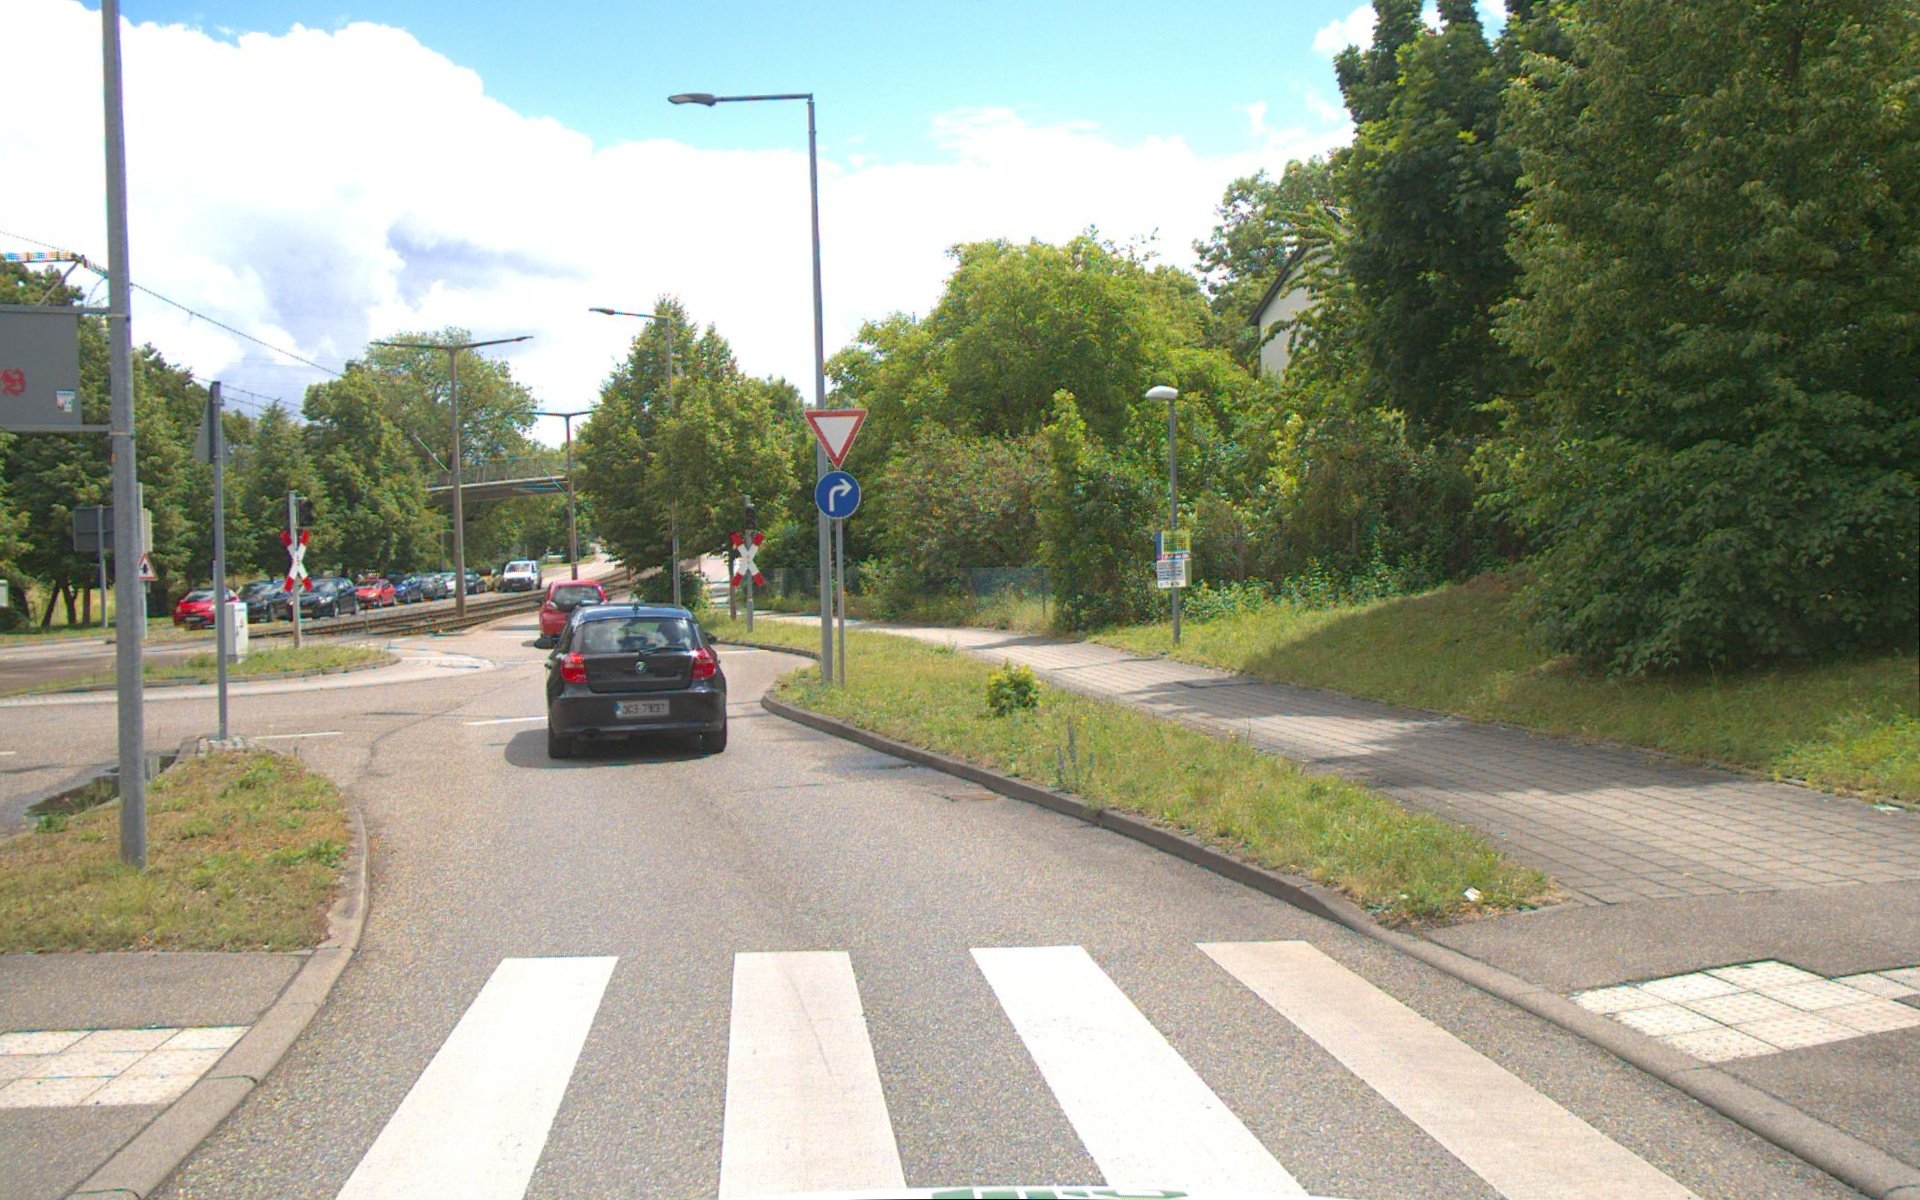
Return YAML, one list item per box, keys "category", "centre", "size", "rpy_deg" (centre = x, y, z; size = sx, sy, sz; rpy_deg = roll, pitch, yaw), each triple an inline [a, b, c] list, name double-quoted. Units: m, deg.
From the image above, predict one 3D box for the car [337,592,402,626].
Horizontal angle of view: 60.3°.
- category: "car"
  centre: [-29.422, 0.428, 82.532]
  size: [1.874, 1.588, 3.999]
  rpy_deg: [-2, 1, -2]

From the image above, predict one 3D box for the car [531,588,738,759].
- category: "car"
  centre: [-3.374, 0.698, 16.924]
  size: [1.784, 1.445, 3.986]
  rpy_deg: [-3, -1, -13]

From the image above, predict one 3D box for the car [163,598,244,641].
- category: "car"
  centre: [-27.911, 0.700, 61.094]
  size: [1.498, 1.394, 3.595]
  rpy_deg: [-2, 2, -4]

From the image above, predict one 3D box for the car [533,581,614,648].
- category: "car"
  centre: [-9.207, 0.353, 39.375]
  size: [1.736, 1.457, 3.466]
  rpy_deg: [-3, 0, -14]

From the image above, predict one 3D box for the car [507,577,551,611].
- category: "car"
  centre: [-27.502, -0.393, 105.576]
  size: [1.954, 2.048, 3.997]
  rpy_deg: [-2, 1, -4]

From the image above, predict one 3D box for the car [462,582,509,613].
- category: "car"
  centre: [-31.307, -0.183, 109.282]
  size: [1.953, 1.895, 3.999]
  rpy_deg: [-2, 1, -2]

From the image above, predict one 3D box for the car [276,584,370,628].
- category: "car"
  centre: [-25.118, 0.196, 65.386]
  size: [1.953, 1.625, 4.420]
  rpy_deg: [-2, 1, 0]

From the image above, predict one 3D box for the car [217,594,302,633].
- category: "car"
  centre: [-28.254, 0.513, 66.839]
  size: [1.841, 1.450, 3.532]
  rpy_deg: [-2, 1, 1]

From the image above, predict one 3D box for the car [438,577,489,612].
- category: "car"
  centre: [-31.232, -0.355, 104.176]
  size: [1.953, 2.048, 4.000]
  rpy_deg: [-2, 1, 0]
